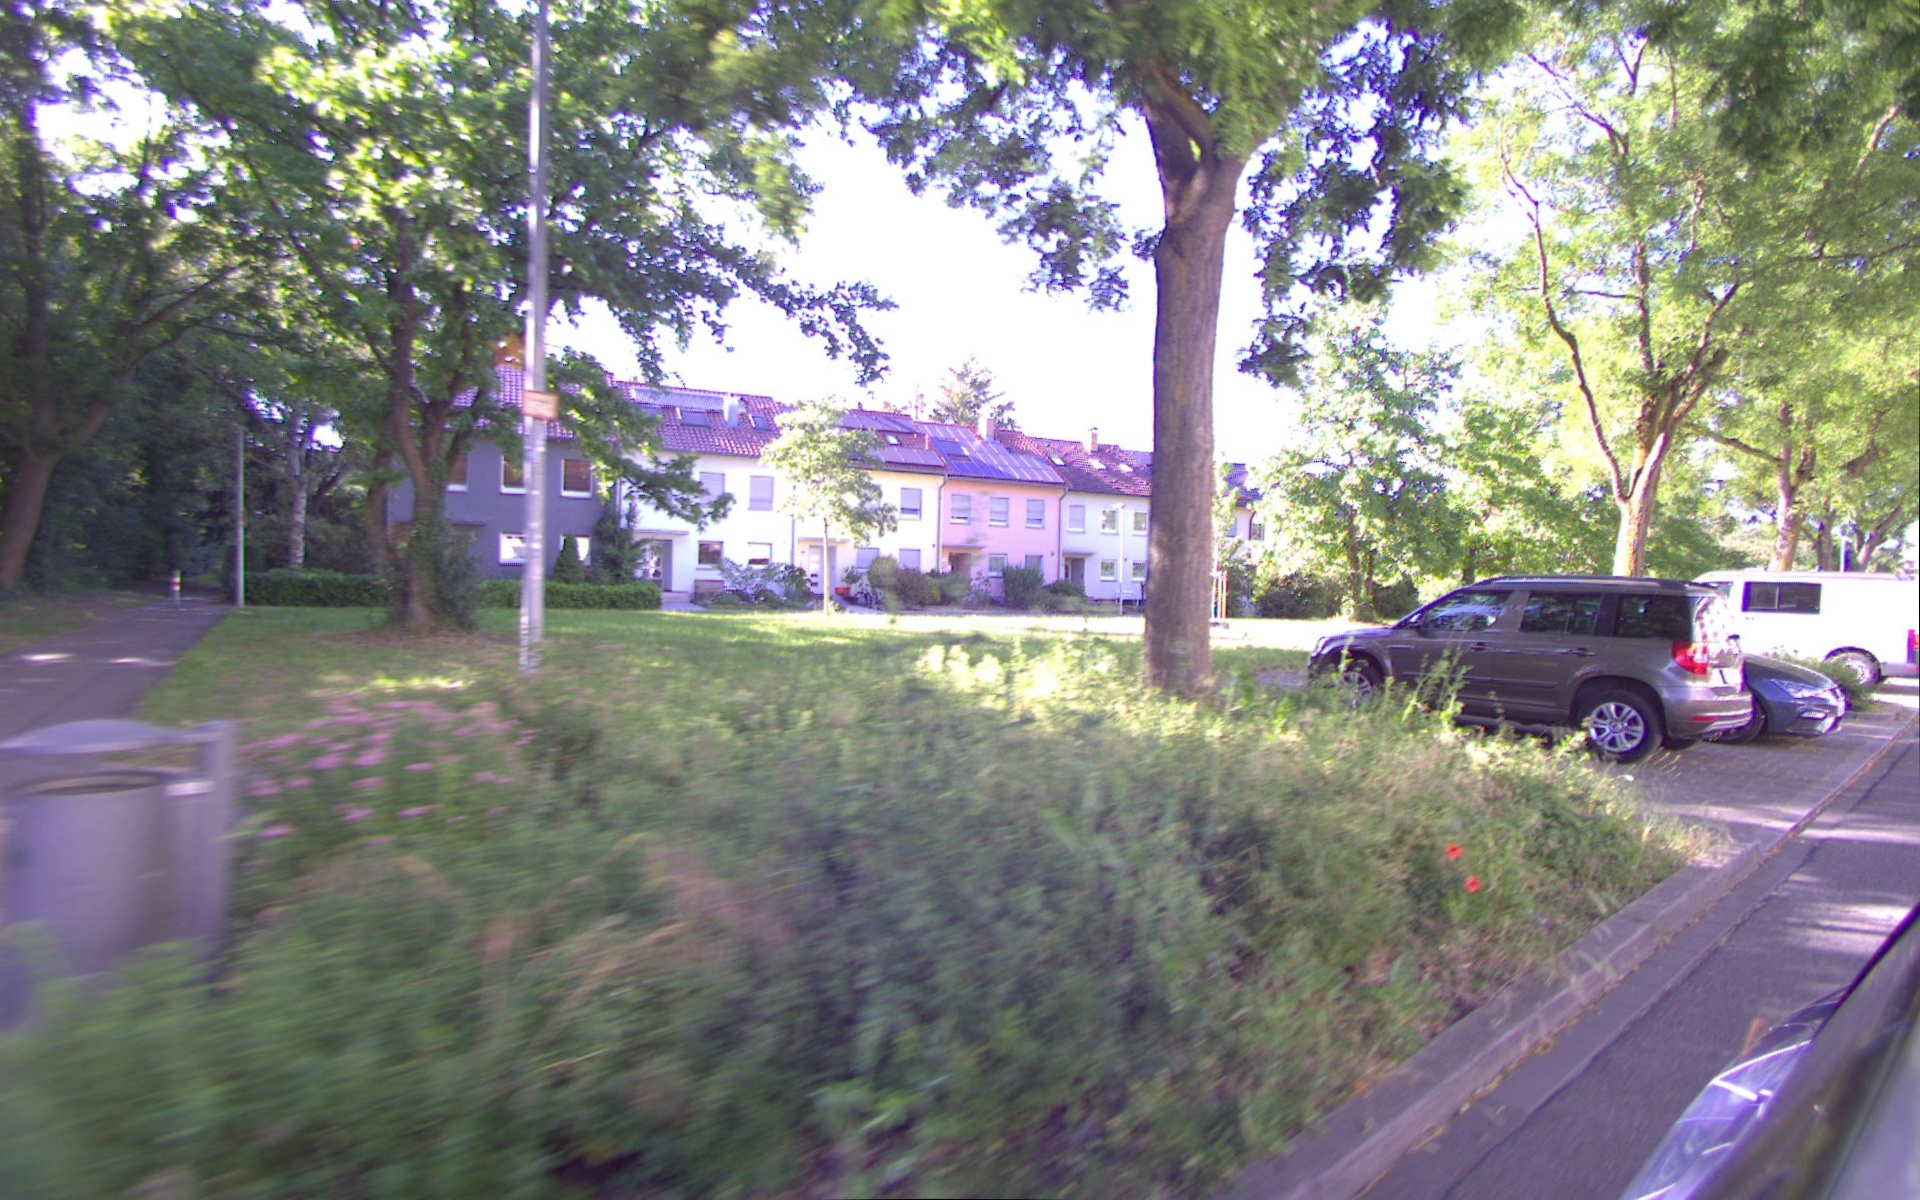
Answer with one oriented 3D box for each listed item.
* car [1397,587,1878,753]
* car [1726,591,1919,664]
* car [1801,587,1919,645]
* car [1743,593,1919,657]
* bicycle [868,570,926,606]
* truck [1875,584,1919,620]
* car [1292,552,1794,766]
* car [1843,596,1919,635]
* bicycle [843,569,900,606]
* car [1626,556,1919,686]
[{"bbox_3d":[7.843,0.664,12.096,1.744,1.431,4.459,1,2,-42],"label":"car"},{"bbox_3d":[21.985,0.645,25.551,1.608,1.453,3.916,1,3,-41],"label":"car"},{"bbox_3d":[31.092,0.532,34.080,1.716,1.786,4.046,1,2,-44],"label":"car"},{"bbox_3d":[23.988,0.649,27.164,1.716,1.489,4.484,1,2,-44],"label":"car"},{"bbox_3d":[-2.628,-0.497,41.861,0.810,1.461,2.915,1,0,-40],"label":"bicycle"},{"bbox_3d":[80.990,0.158,87.328,2.756,2.835,8.141,5,3,42],"label":"truck"},{"bbox_3d":[5.823,0.421,10.566,1.743,1.716,4.159,1,2,-39],"label":"car"},{"bbox_3d":[43.231,0.727,46.371,4.044,1.572,1.717,6,4,44],"label":"car"},{"bbox_3d":[-3.662,-0.522,41.647,0.810,1.492,2.915,1,0,-40],"label":"bicycle"},{"bbox_3d":[15.243,0.292,18.711,1.985,2.041,4.461,1,3,-41],"label":"car"}]
